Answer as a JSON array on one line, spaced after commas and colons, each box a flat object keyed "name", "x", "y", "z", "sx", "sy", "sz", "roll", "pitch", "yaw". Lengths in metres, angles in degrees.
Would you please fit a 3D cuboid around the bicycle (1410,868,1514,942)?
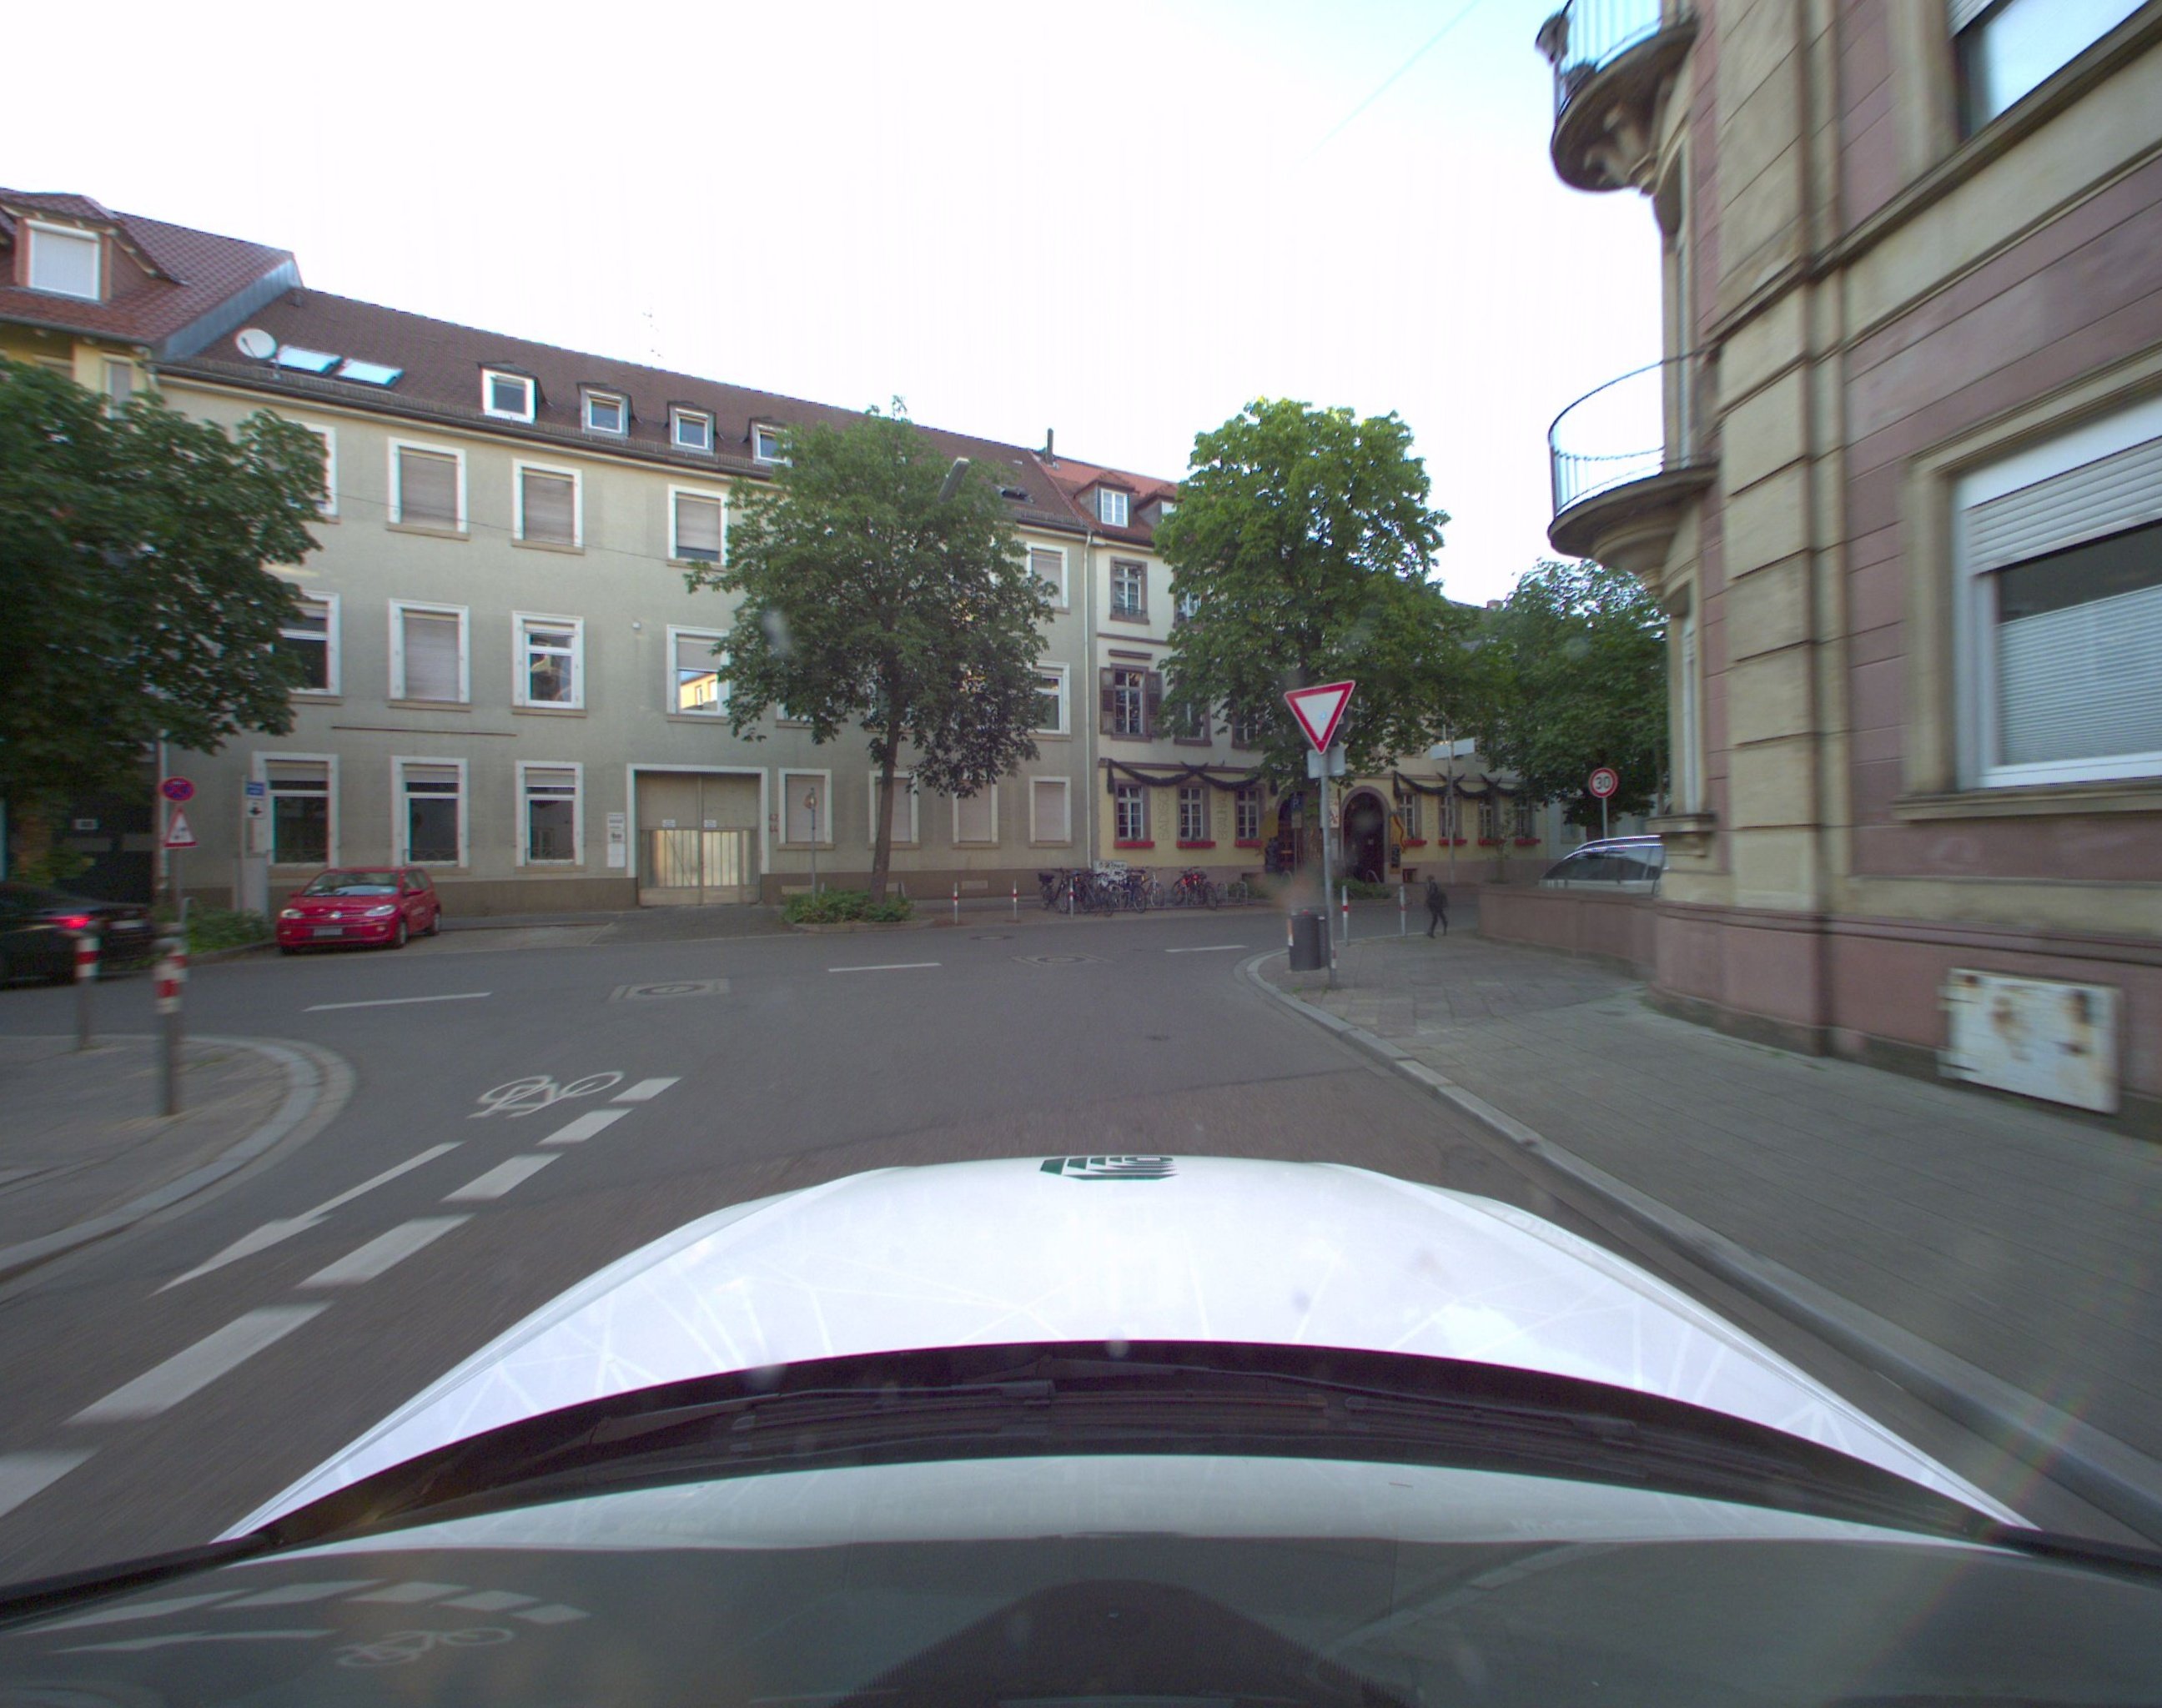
[{"name": "bicycle", "x": 6.222, "y": 0.806, "z": 13.259, "sx": 1.873, "sy": 1.089, "sz": 0.361, "roll": -2, "pitch": -2, "yaw": -25}]

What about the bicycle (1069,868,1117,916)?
[{"name": "bicycle", "x": 0.284, "y": 0.947, "z": 20.962, "sx": 0.447, "sy": 1.145, "sz": 2.026, "roll": -1, "pitch": 0, "yaw": -23}]

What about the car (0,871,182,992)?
[{"name": "car", "x": -14.954, "y": 1.003, "z": 10.154, "sx": 4.680, "sy": 1.450, "sz": 1.752, "roll": -1, "pitch": 0, "yaw": -28}]

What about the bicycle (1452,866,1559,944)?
[{"name": "bicycle", "x": 6.640, "y": 0.772, "z": 12.713, "sx": 1.873, "sy": 1.089, "sz": 0.361, "roll": -2, "pitch": -2, "yaw": -25}]

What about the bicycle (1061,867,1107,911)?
[{"name": "bicycle", "x": 0.064, "y": 0.951, "z": 22.606, "sx": 0.422, "sy": 1.145, "sz": 2.025, "roll": -1, "pitch": 0, "yaw": -25}]

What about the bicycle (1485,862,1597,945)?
[{"name": "bicycle", "x": 6.805, "y": 0.709, "z": 12.024, "sx": 1.873, "sy": 1.089, "sz": 0.361, "roll": -2, "pitch": -2, "yaw": -25}]

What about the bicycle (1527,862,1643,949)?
[{"name": "bicycle", "x": 7.083, "y": 0.702, "z": 11.418, "sx": 1.873, "sy": 1.089, "sz": 0.361, "roll": -2, "pitch": -2, "yaw": -25}]

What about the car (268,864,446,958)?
[{"name": "car", "x": -13.445, "y": 0.962, "z": 15.374, "sx": 1.569, "sy": 1.475, "sz": 3.636, "roll": -1, "pitch": 1, "yaw": -26}]

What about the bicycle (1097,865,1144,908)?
[{"name": "bicycle", "x": 1.109, "y": 0.896, "z": 23.243, "sx": 0.422, "sy": 1.145, "sz": 2.025, "roll": -1, "pitch": 0, "yaw": -25}]

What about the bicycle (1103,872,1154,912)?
[{"name": "bicycle", "x": 1.249, "y": 0.991, "z": 21.815, "sx": 0.422, "sy": 1.004, "sz": 2.025, "roll": -1, "pitch": 0, "yaw": -25}]

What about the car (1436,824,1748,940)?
[{"name": "car", "x": 8.968, "y": 0.491, "z": 14.836, "sx": 1.779, "sy": 1.738, "sz": 4.555, "roll": -2, "pitch": -1, "yaw": -23}]

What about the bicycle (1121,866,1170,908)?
[{"name": "bicycle", "x": 1.838, "y": 0.930, "z": 23.506, "sx": 0.422, "sy": 1.145, "sz": 2.025, "roll": -1, "pitch": 0, "yaw": -25}]

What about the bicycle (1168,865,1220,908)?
[{"name": "bicycle", "x": 3.163, "y": 0.889, "z": 23.028, "sx": 0.422, "sy": 1.145, "sz": 2.025, "roll": -1, "pitch": 0, "yaw": -25}]

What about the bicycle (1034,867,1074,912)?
[{"name": "bicycle", "x": -0.767, "y": 0.941, "z": 22.203, "sx": 0.446, "sy": 1.145, "sz": 2.028, "roll": -1, "pitch": 0, "yaw": -21}]
